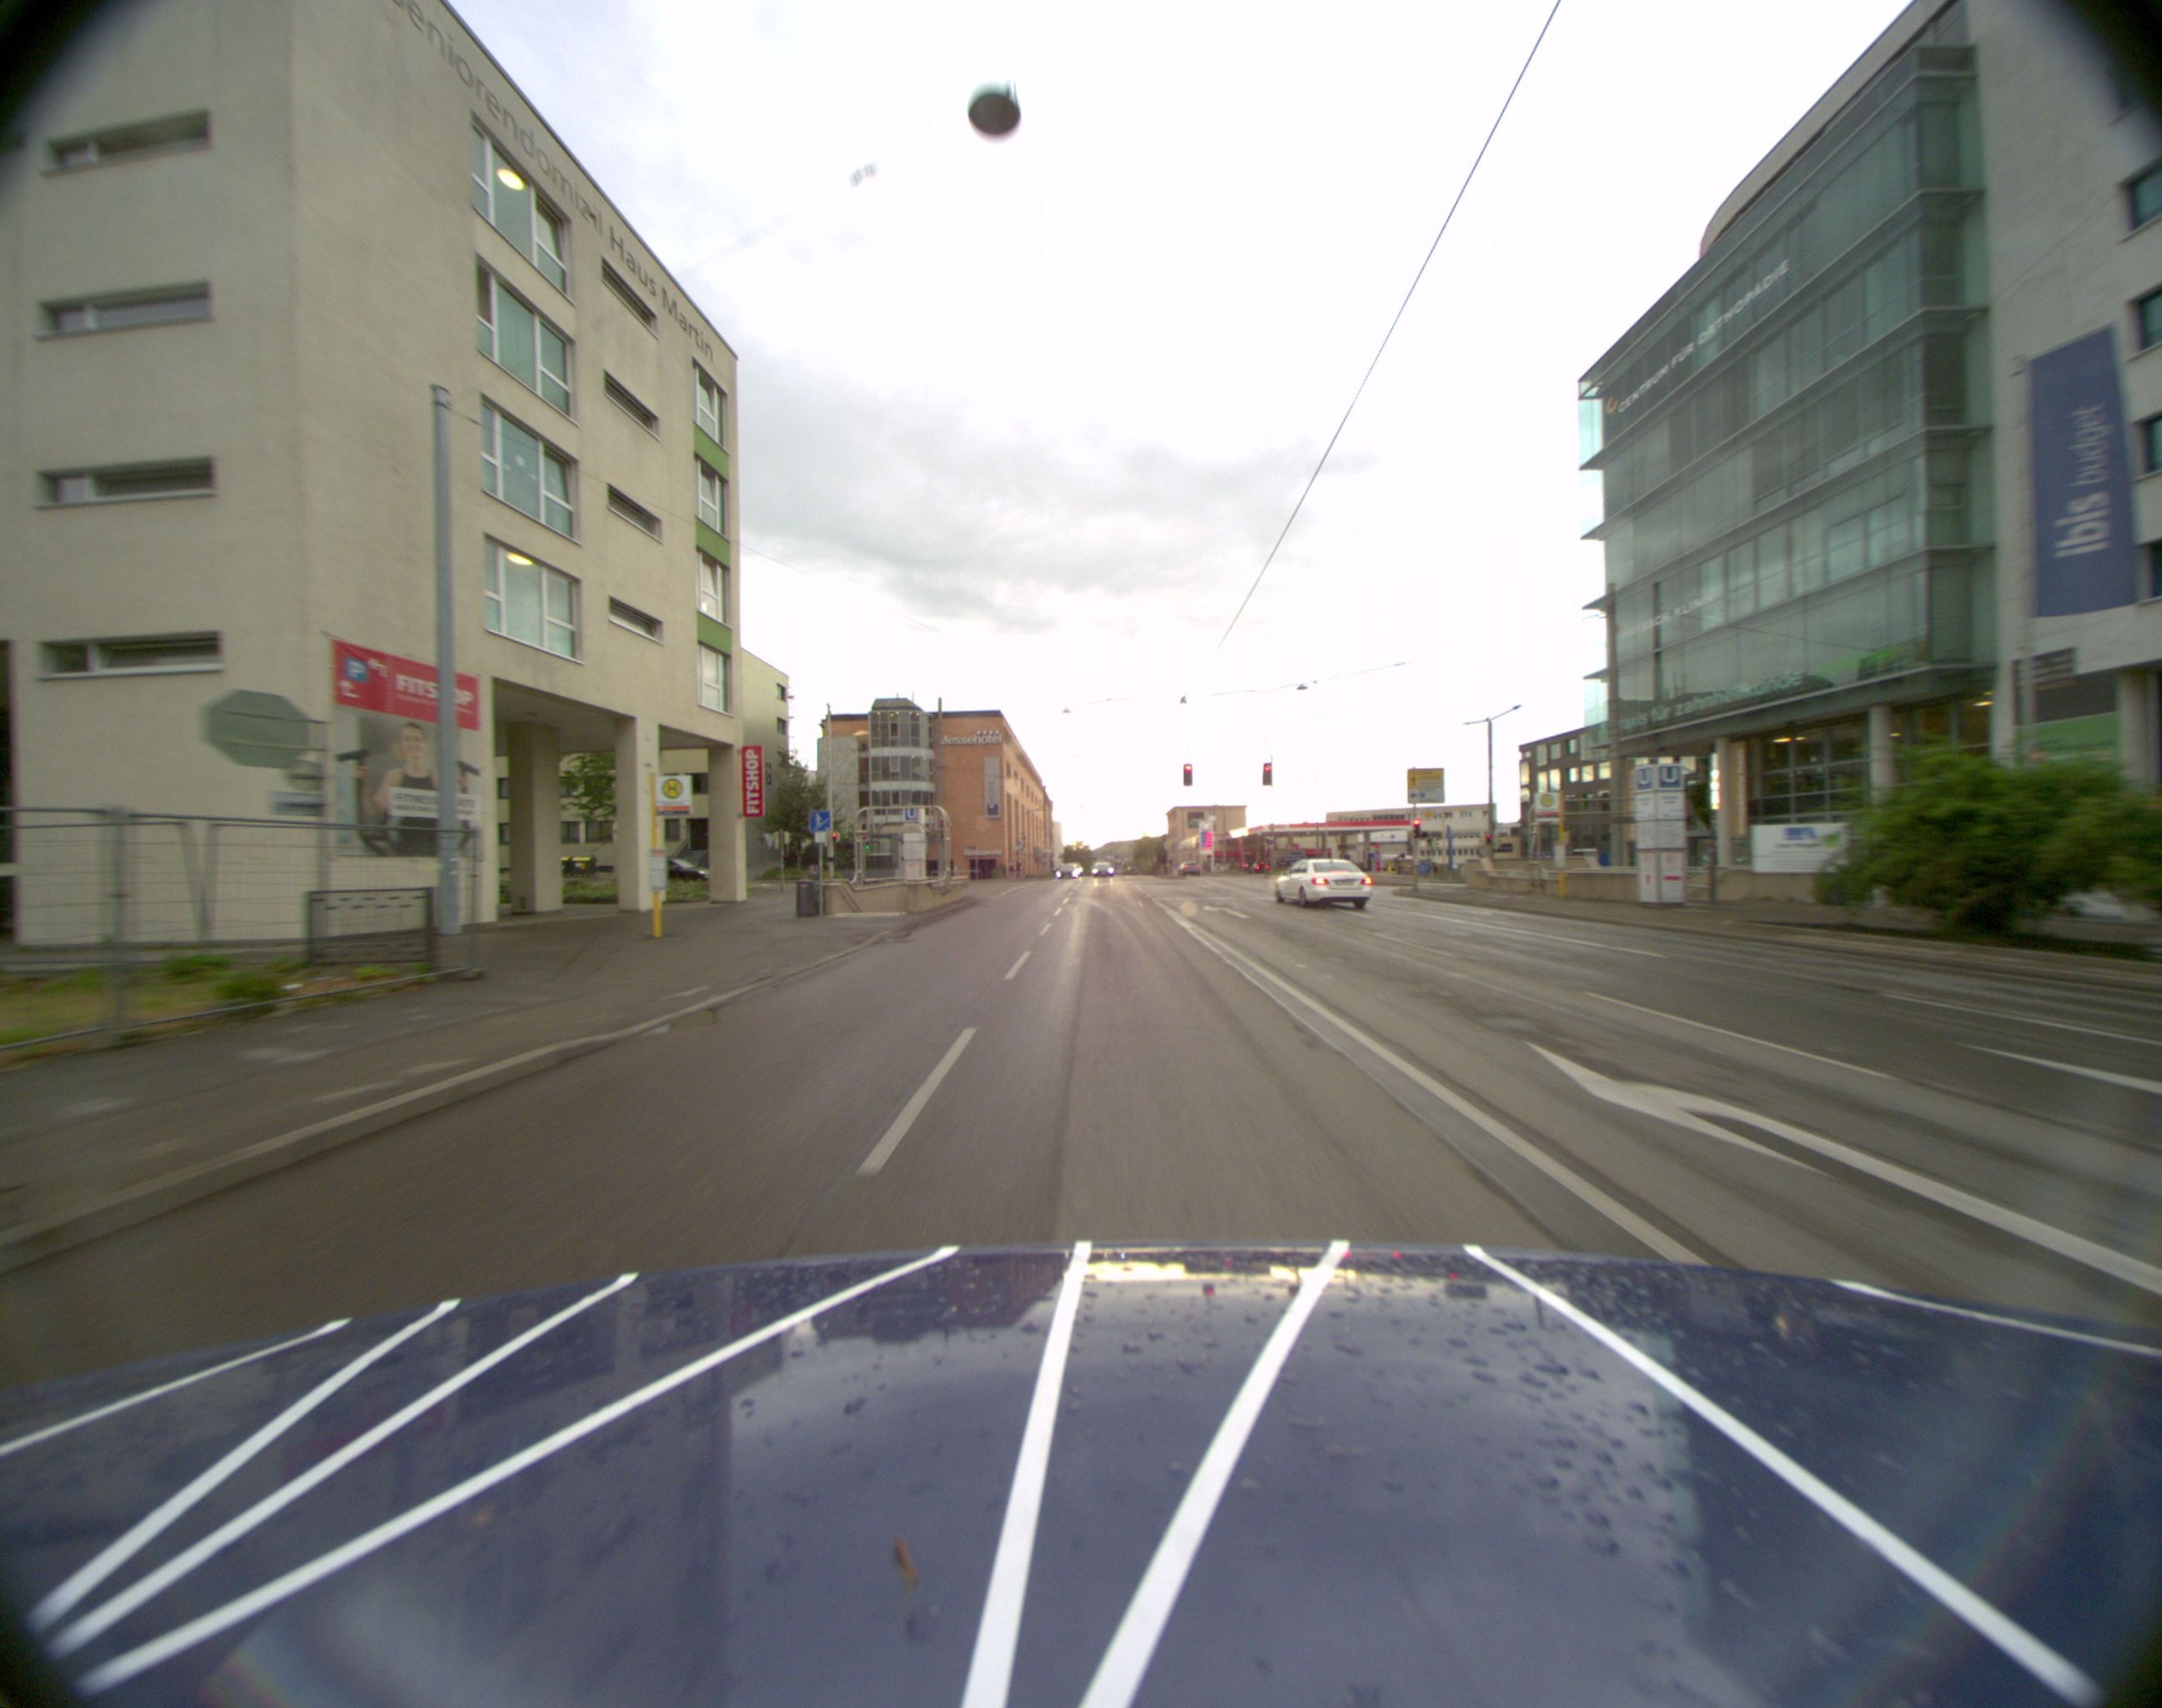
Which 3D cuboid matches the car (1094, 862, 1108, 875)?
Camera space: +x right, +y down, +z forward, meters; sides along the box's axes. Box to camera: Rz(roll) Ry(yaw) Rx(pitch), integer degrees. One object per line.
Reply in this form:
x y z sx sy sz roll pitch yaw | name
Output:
2.509 1.783 94.860 1.696 1.392 4.089 -3 0 2 | car

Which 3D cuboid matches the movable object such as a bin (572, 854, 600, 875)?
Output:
-35.995 0.759 55.267 1.357 1.437 1.057 1 3 3 | movable object such as a bin

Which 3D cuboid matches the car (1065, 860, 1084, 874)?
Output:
-0.646 1.361 79.770 1.696 1.392 4.090 -2 0 3 | car

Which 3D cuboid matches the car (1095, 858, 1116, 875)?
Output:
2.341 1.164 73.577 1.964 1.516 4.262 -2 0 1 | car

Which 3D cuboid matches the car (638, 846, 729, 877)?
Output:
-22.069 0.420 42.263 3.996 1.565 2.000 1 2 4 | car

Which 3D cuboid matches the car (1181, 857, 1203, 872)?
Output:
12.687 1.218 87.069 1.913 1.622 4.210 -1 0 0 | car

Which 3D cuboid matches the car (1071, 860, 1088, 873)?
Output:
-0.134 1.377 86.802 1.696 1.392 4.090 -2 0 3 | car

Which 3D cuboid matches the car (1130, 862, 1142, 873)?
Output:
9.412 2.358 130.326 1.857 1.758 4.131 1 0 1 | car

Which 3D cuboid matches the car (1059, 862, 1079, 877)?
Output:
-1.131 1.420 72.597 1.649 1.313 4.001 -2 0 2 | car

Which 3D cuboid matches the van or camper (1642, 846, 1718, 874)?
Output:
55.136 0.518 70.056 2.737 2.355 5.346 1 2 1 | van or camper

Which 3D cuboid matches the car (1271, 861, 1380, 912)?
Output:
7.463 0.936 23.733 1.822 1.379 4.963 -1 0 0 | car
